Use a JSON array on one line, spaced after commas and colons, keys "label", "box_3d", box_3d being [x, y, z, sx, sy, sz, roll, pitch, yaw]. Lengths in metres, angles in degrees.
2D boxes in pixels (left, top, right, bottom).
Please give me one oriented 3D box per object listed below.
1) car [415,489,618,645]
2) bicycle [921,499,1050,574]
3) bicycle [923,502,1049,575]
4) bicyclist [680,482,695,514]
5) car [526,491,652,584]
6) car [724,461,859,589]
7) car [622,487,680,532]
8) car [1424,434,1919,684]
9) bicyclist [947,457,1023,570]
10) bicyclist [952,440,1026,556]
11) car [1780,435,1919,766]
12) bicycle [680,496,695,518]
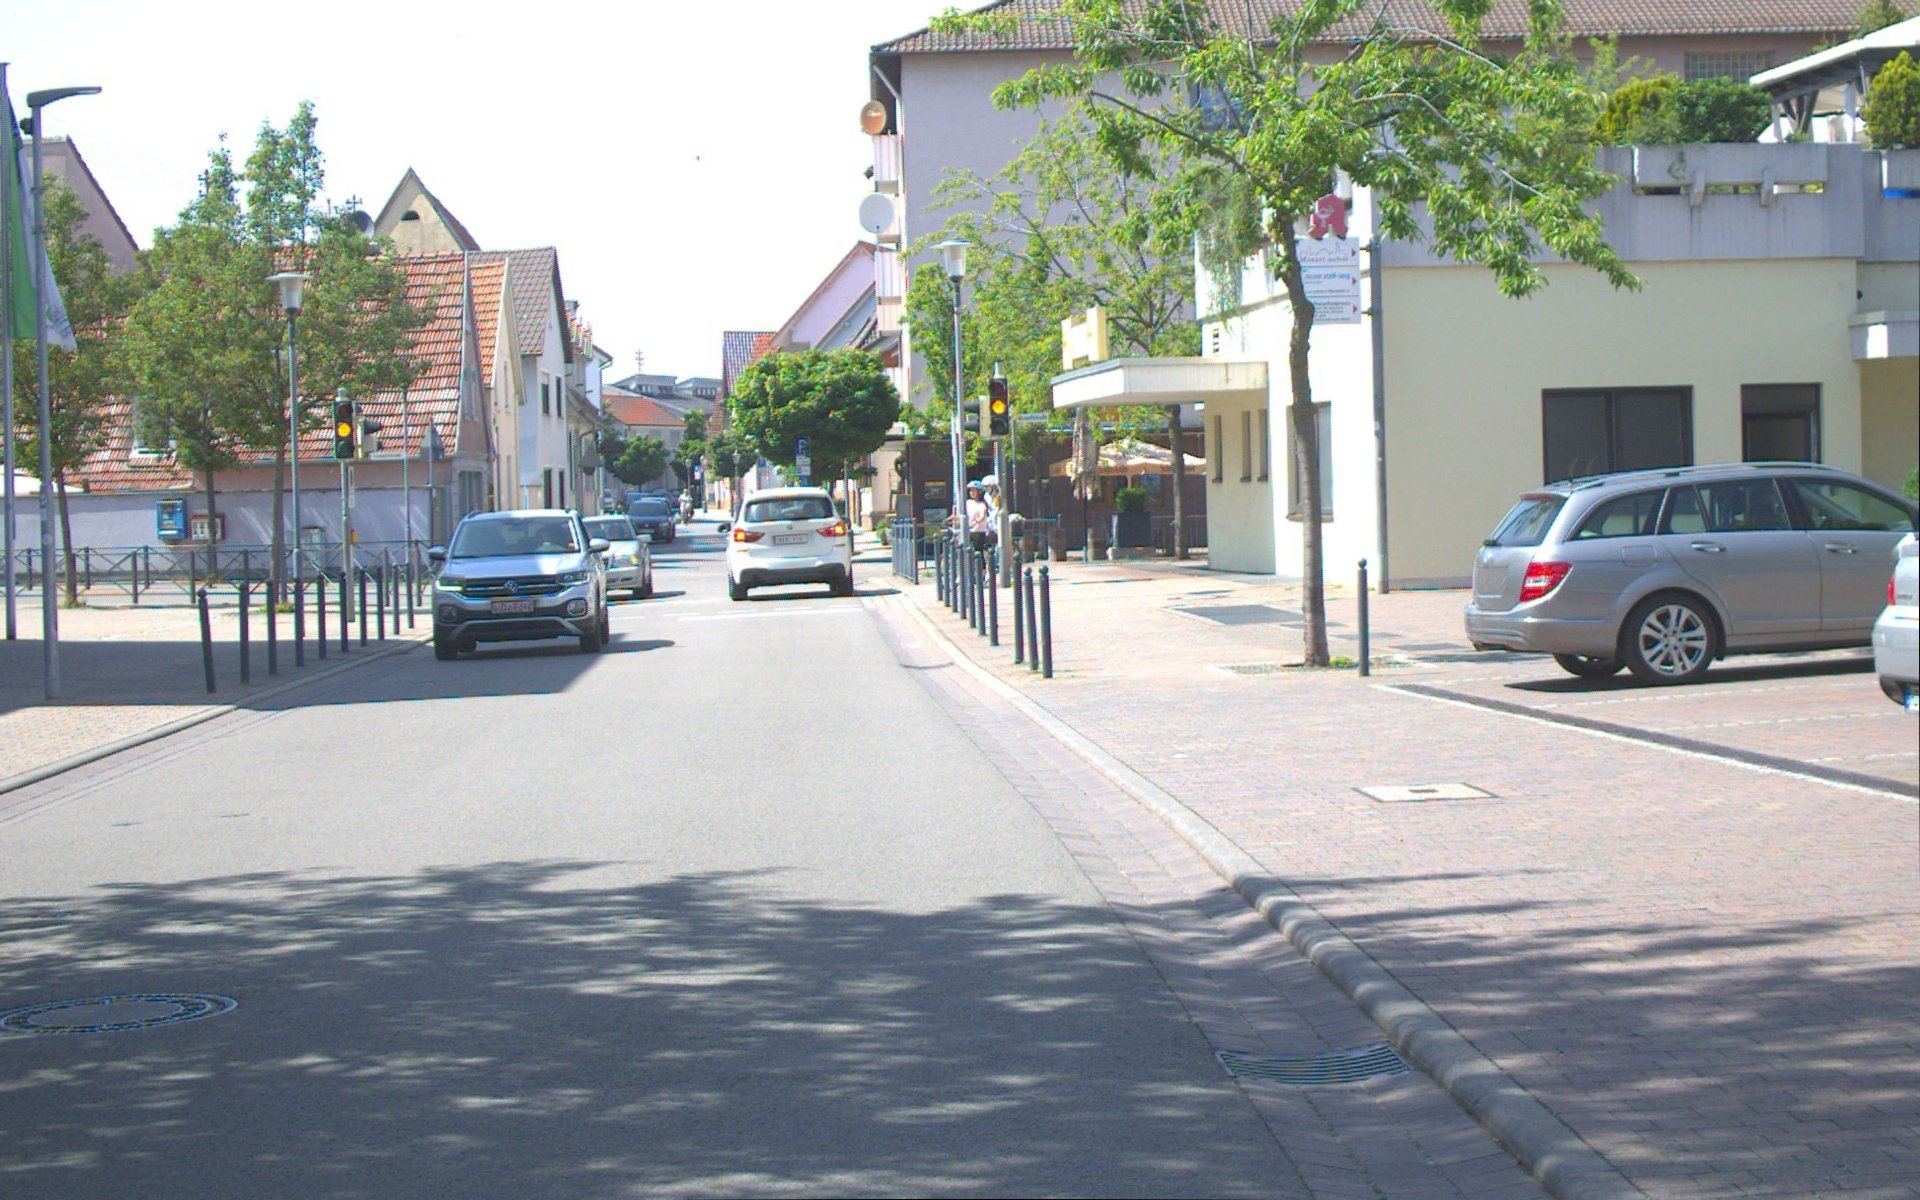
[{"label": "car", "box_3d": [-4.770, -0.405, 37.457, 1.851, 1.568, 4.001, -2, 2, -3]}, {"label": "bicycle", "box_3d": [0.379, -0.925, 49.802, 0.675, 0.954, 1.891, -1, 4, 45]}, {"label": "bicycle", "box_3d": [0.393, -0.915, 50.829, 0.675, 0.954, 1.891, -1, 3, 45]}, {"label": "bicyclist", "box_3d": [-12.807, -4.785, 161.570, 0.673, 1.477, 0.770, -2, 2, -4]}, {"label": "car", "box_3d": [-6.264, -1.096, 58.468, 1.880, 1.459, 4.437, -2, 2, -3]}, {"label": "car", "box_3d": [-2.492, -1.152, 51.261, 1.834, 1.646, 4.001, -4, 3, -2]}, {"label": "car", "box_3d": [-10.837, -3.179, 120.619, 1.714, 1.512, 3.787, -1, 2, -1]}, {"label": "car", "box_3d": [5.773, -0.354, 24.065, 4.574, 1.507, 1.917, -3, 2, -9]}, {"label": "bicyclist", "box_3d": [0.358, -1.256, 49.770, 0.670, 1.576, 0.760, -1, 4, 45]}, {"label": "bicyclist", "box_3d": [0.429, -1.505, 50.877, 0.670, 1.658, 0.760, -1, 3, 44]}, {"label": "car", "box_3d": [6.320, -0.141, 15.819, 4.535, 1.435, 1.840, -3, 2, -8]}, {"label": "bicycle", "box_3d": [-12.811, -4.357, 161.565, 0.664, 1.002, 1.898, -2, 2, -4]}]
